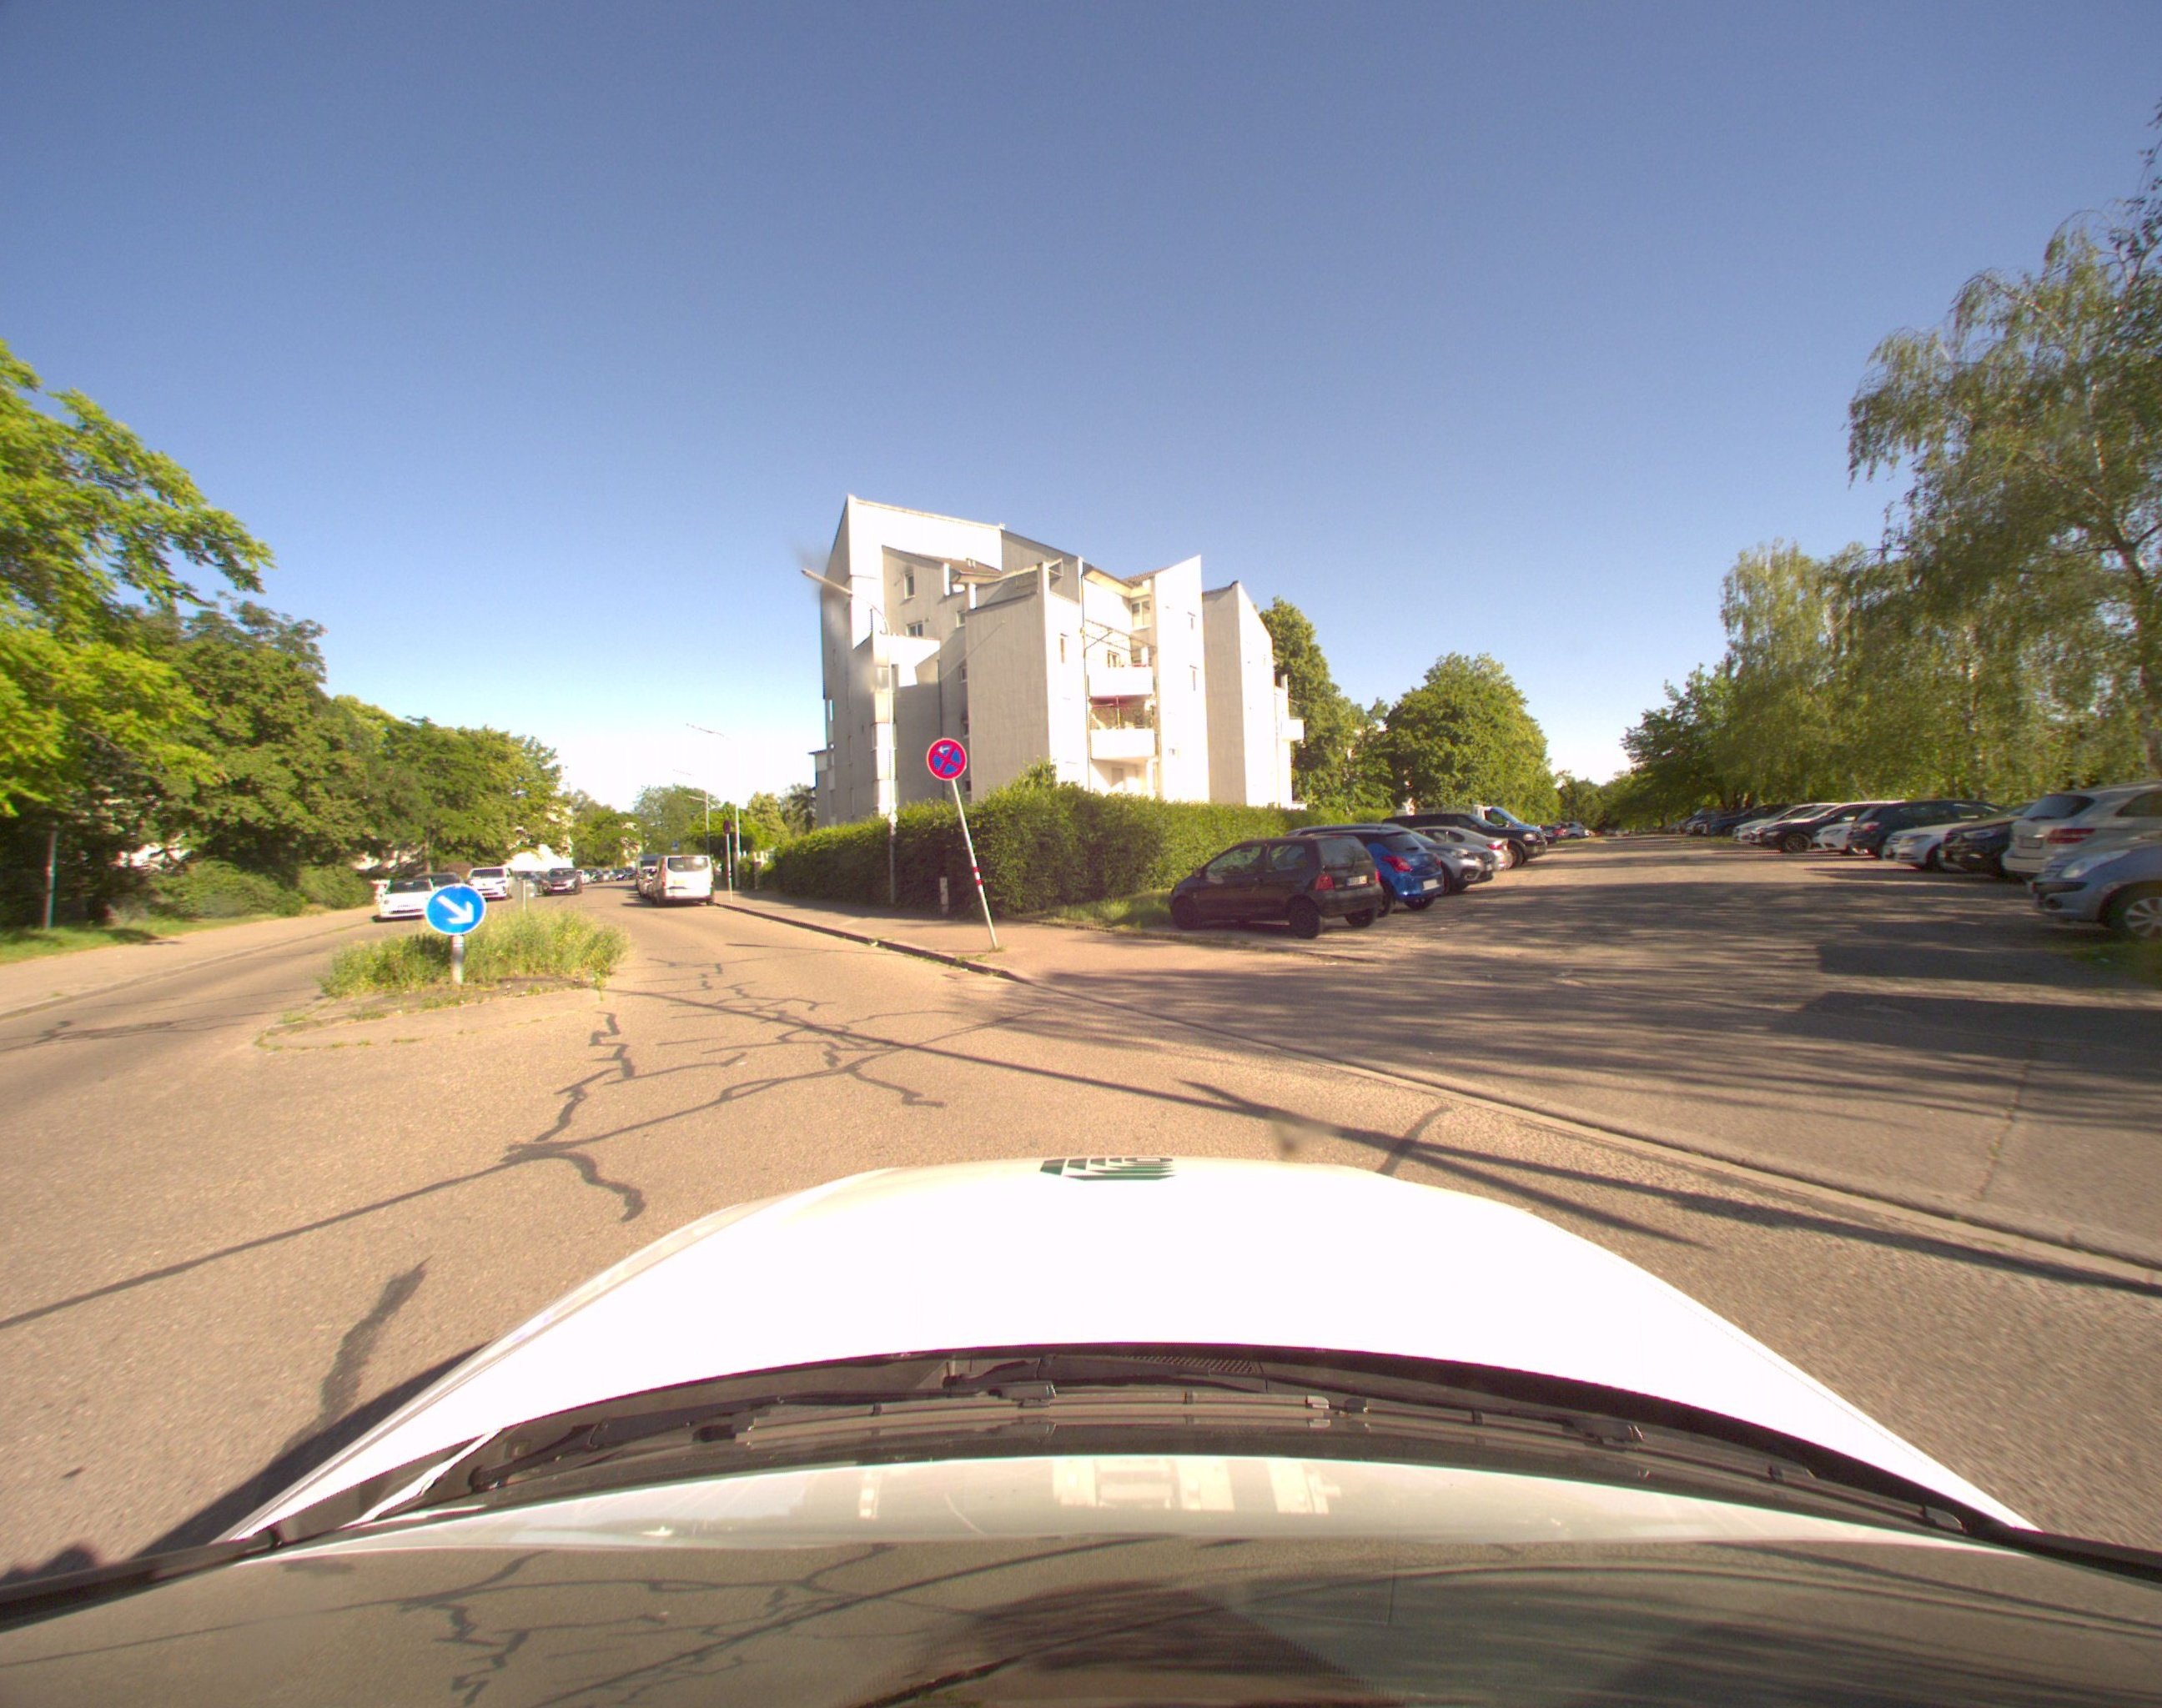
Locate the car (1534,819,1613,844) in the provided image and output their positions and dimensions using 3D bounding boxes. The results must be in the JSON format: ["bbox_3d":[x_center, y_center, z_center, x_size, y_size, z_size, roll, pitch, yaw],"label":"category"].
[{"bbox_3d":[29.374,-1.342,48.609,3.901,1.334,1.859,-2,1,34],"label":"car"}]

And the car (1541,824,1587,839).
[{"bbox_3d":[49.433,-2.286,83.279,3.901,1.334,1.859,-2,1,34],"label":"car"}]

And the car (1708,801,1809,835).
[{"bbox_3d":[34.911,-1.827,42.104,3.948,1.585,1.809,-1,1,38],"label":"car"}]

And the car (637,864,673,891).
[{"bbox_3d":[-28.548,1.560,54.537,1.922,1.666,4.332,-2,0,-30],"label":"car"}]

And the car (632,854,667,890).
[{"bbox_3d":[-31.222,1.275,59.057,2.116,2.486,5.803,-1,-1,-27],"label":"car"}]

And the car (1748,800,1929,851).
[{"bbox_3d":[23.244,-0.837,25.221,3.948,1.401,1.809,-1,1,38],"label":"car"}]

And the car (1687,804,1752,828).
[{"bbox_3d":[49.464,-2.918,63.162,3.948,1.708,1.809,-1,1,38],"label":"car"}]

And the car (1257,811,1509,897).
[{"bbox_3d":[6.668,0.048,18.353,4.943,1.654,1.796,-3,0,40],"label":"car"}]

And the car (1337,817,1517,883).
[{"bbox_3d":[9.141,-0.082,21.598,4.103,1.455,1.630,-4,0,32],"label":"car"}]

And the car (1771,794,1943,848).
[{"bbox_3d":[25.557,-1.043,27.034,3.948,1.585,1.809,-1,1,38],"label":"car"}]

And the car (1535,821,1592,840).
[{"bbox_3d":[39.388,-1.912,66.497,3.901,1.334,1.859,-2,1,34],"label":"car"}]

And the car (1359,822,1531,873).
[{"bbox_3d":[10.927,-0.167,24.603,4.408,1.335,1.859,-2,1,37],"label":"car"}]

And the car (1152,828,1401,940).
[{"bbox_3d":[2.990,0.417,12.977,1.712,1.466,3.493,-4,2,-39],"label":"car"}]

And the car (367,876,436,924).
[{"bbox_3d":[-24.505,1.615,29.454,1.639,1.527,3.381,-3,1,-36],"label":"car"}]

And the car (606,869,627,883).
[{"bbox_3d":[-54.497,2.572,95.596,1.668,1.426,4.017,-4,1,-24],"label":"car"}]

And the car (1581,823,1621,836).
[{"bbox_3d":[57.287,-2.708,89.670,3.609,1.212,1.859,-2,1,34],"label":"car"}]

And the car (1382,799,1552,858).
[{"bbox_3d":[16.393,-1.026,34.699,6.195,2.147,2.426,-2,1,33],"label":"car"}]

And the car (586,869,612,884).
[{"bbox_3d":[-53.149,2.501,89.887,1.666,1.486,4.025,-4,1,-20],"label":"car"}]

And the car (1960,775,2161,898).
[{"bbox_3d":[15.259,-0.294,11.150,4.014,1.603,1.802,-1,2,29],"label":"car"}]

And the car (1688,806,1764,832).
[{"bbox_3d":[43.686,-2.328,55.252,3.948,1.585,1.809,-1,1,38],"label":"car"}]

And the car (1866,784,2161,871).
[{"bbox_3d":[18.459,-0.505,15.960,4.065,1.499,1.802,-2,2,28],"label":"car"}]

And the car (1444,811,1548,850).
[{"bbox_3d":[21.172,-1.179,41.610,4.478,1.771,1.859,-2,1,36],"label":"car"}]

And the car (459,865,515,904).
[{"bbox_3d":[-32.736,1.613,44.998,1.875,1.961,4.626,-3,1,-29],"label":"car"}]

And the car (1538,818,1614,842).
[{"bbox_3d":[30.927,-1.487,50.893,3.901,1.334,1.859,-2,1,34],"label":"car"}]

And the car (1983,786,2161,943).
[{"bbox_3d":[11.129,0.060,7.318,1.644,1.438,4.017,-3,2,-42],"label":"car"}]

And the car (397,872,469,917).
[{"bbox_3d":[-26.977,1.631,34.008,1.686,1.638,4.209,-4,1,-30],"label":"car"}]

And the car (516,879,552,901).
[{"bbox_3d":[-41.508,2.734,61.851,1.679,1.437,3.966,-4,1,-26],"label":"car"}]

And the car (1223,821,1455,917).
[{"bbox_3d":[4.617,0.281,14.931,1.660,1.496,3.647,-4,1,-42],"label":"car"}]

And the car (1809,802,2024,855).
[{"bbox_3d":[22.834,-0.680,22.501,3.948,1.278,1.809,-1,1,40],"label":"car"}]

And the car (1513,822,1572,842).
[{"bbox_3d":[36.582,-1.754,64.538,3.901,1.334,1.859,-2,1,34],"label":"car"}]

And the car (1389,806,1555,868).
[{"bbox_3d":[12.649,-0.518,26.504,4.478,1.771,1.859,-2,1,40],"label":"car"}]

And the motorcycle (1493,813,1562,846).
[{"bbox_3d":[24.374,-1.324,44.508,3.160,1.596,0.929,-2,1,36],"label":"motorcycle"}]

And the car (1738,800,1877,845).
[{"bbox_3d":[28.560,-1.227,32.190,3.948,1.585,1.809,-1,1,38],"label":"car"}]

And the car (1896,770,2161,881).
[{"bbox_3d":[16.834,-0.486,13.697,4.065,1.706,1.802,-2,2,28],"label":"car"}]

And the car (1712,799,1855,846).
[{"bbox_3d":[26.248,-1.143,30.638,3.948,1.585,1.809,-1,1,38],"label":"car"}]

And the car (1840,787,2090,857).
[{"bbox_3d":[21.634,-0.737,20.218,3.949,1.503,1.961,-1,1,40],"label":"car"}]

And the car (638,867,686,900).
[{"bbox_3d":[-21.329,1.458,41.407,1.922,1.488,4.332,-2,0,-30],"label":"car"}]

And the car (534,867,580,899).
[{"bbox_3d":[-31.265,1.696,48.670,1.924,1.705,4.146,-4,1,-29],"label":"car"}]

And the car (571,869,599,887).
[{"bbox_3d":[-51.054,2.463,83.880,1.677,1.666,4.374,-4,1,-21],"label":"car"}]

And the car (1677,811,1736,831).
[{"bbox_3d":[54.298,-2.869,70.752,3.948,1.585,1.809,-1,1,38],"label":"car"}]

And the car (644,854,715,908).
[{"bbox_3d":[-16.083,1.040,32.490,2.007,1.912,4.903,-2,0,-32],"label":"car"}]

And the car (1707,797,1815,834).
[{"bbox_3d":[32.982,-1.829,39.633,3.948,1.585,1.809,-1,1,38],"label":"car"}]

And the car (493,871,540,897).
[{"bbox_3d":[-38.175,1.993,55.181,1.756,1.617,4.327,-3,1,-24],"label":"car"}]
